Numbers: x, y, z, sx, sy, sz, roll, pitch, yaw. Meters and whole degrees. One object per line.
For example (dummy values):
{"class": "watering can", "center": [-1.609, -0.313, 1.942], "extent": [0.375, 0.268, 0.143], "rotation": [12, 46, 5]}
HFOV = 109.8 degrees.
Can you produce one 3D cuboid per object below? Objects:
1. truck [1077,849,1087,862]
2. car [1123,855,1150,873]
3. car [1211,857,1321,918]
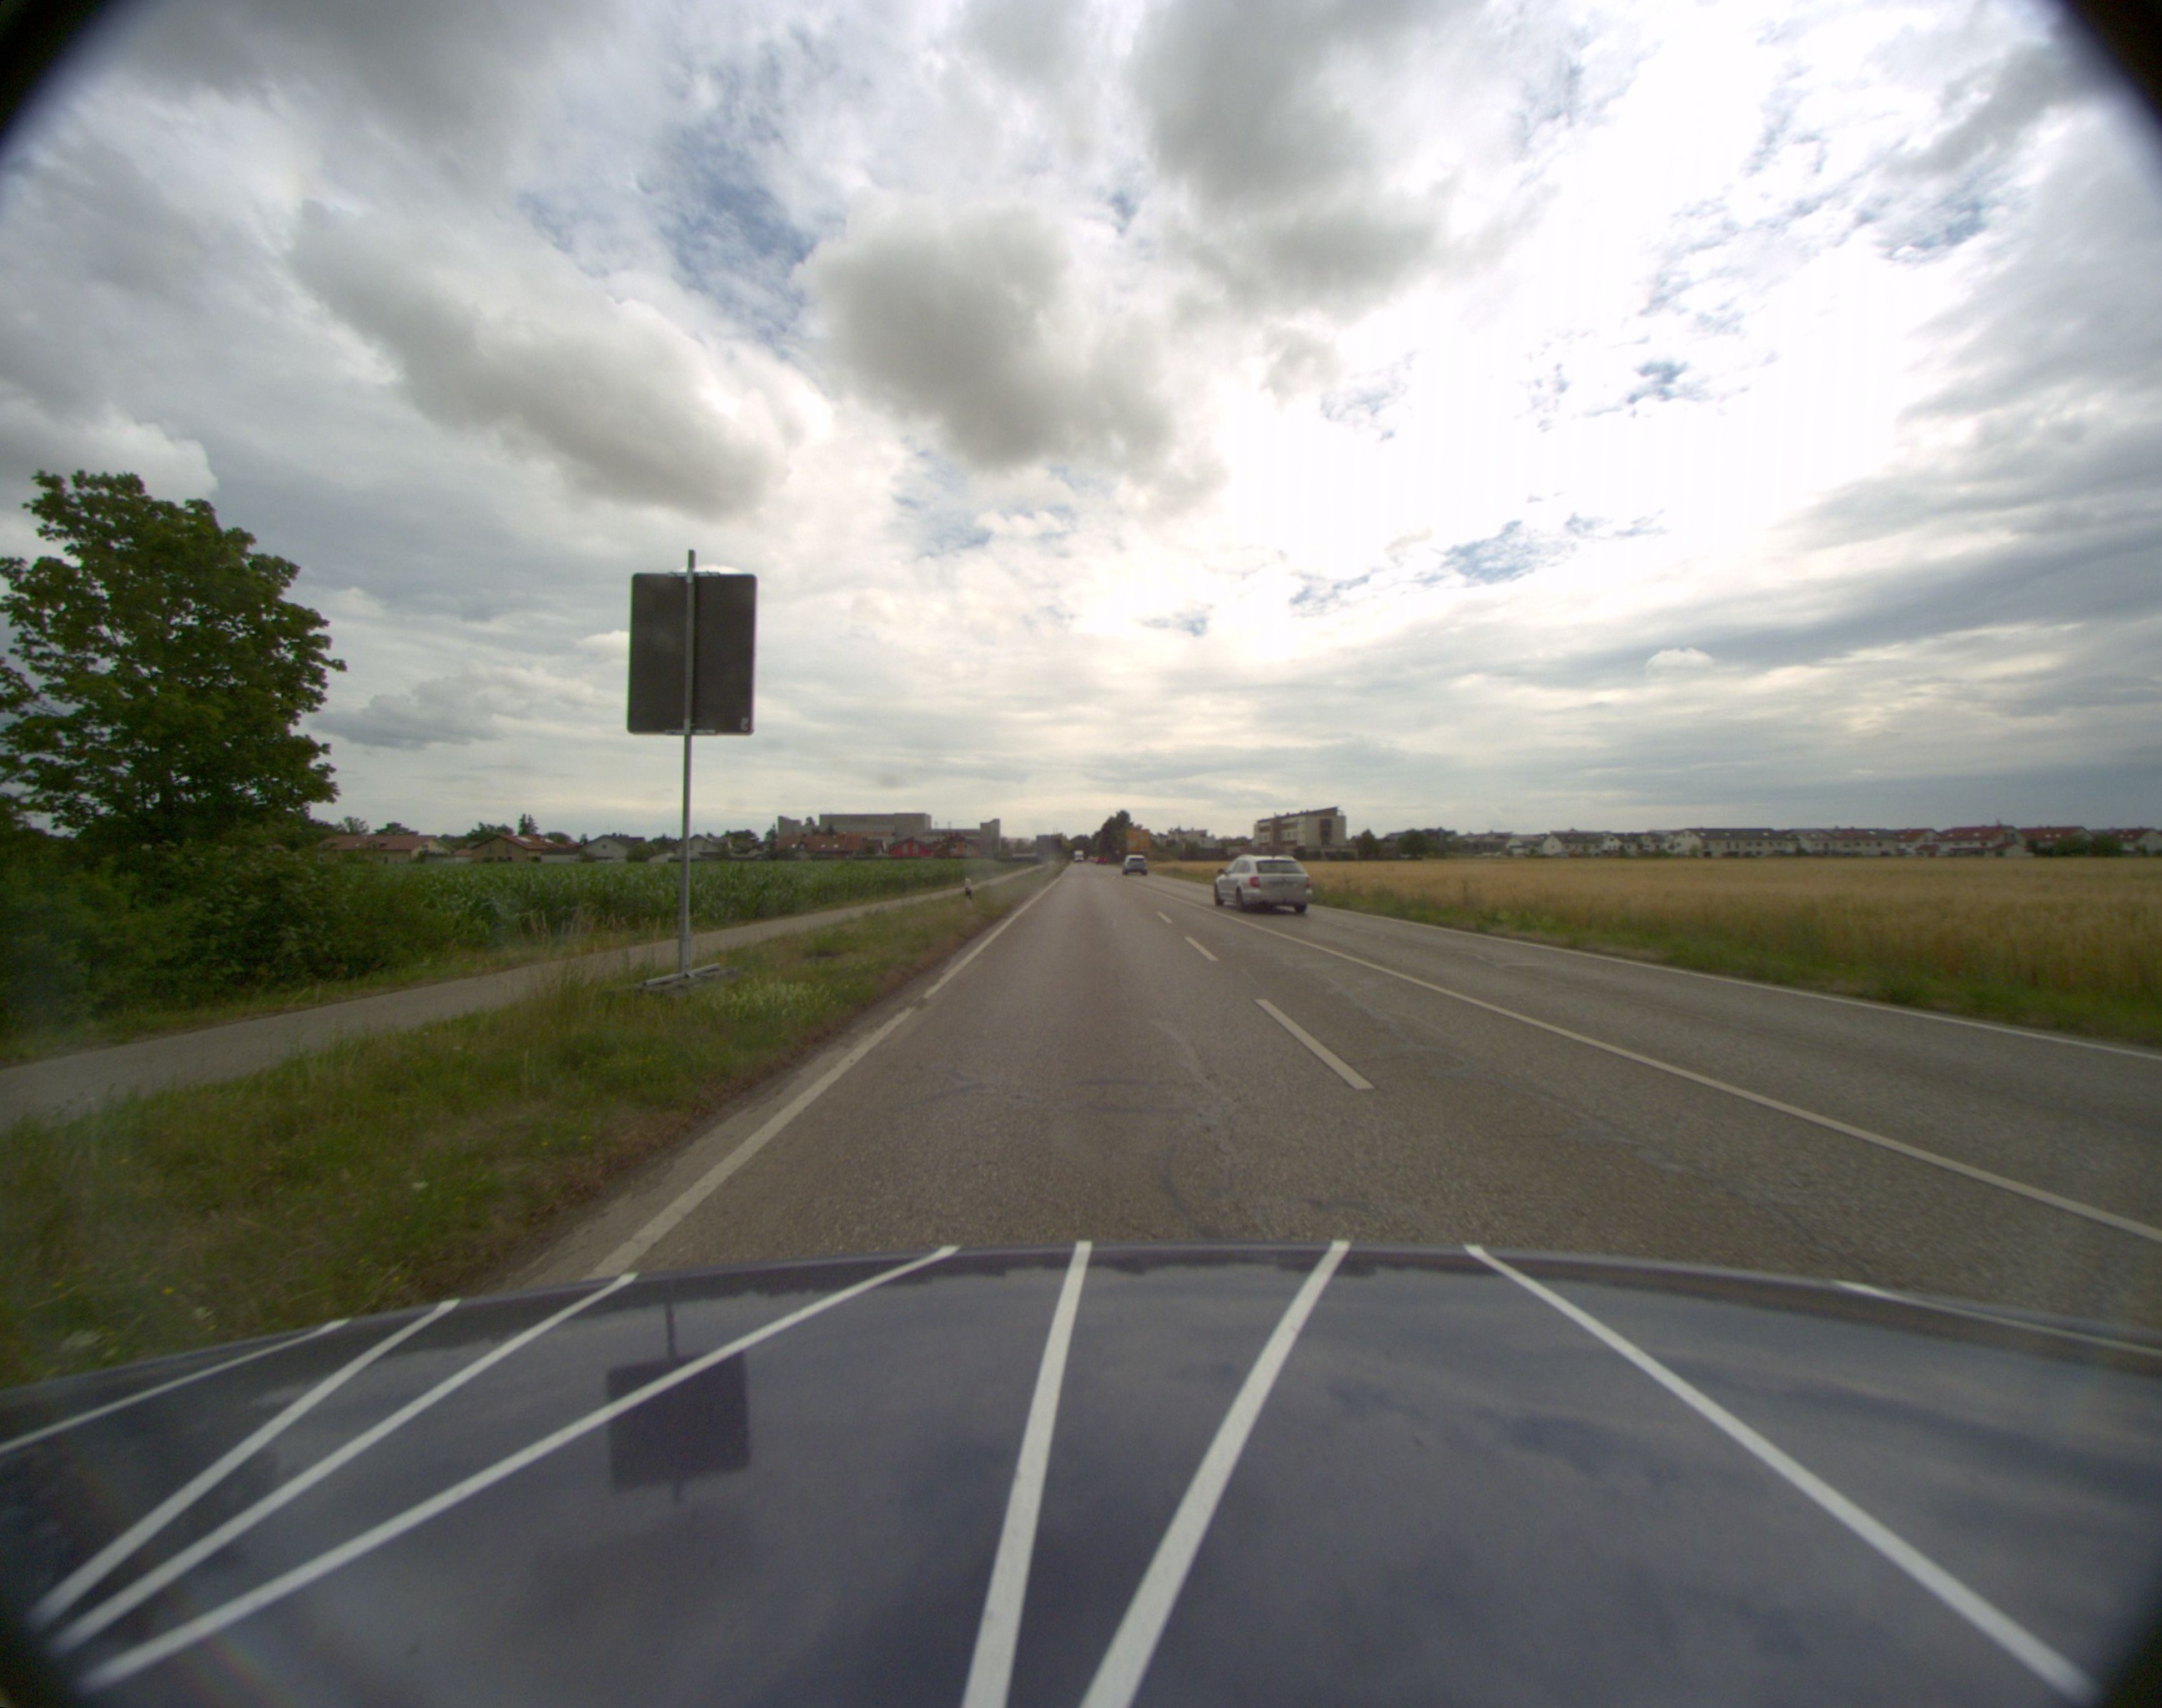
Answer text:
{"class": "truck", "center": [0.359, 0.400, 213.386], "extent": [2.813, 3.588, 11.219], "rotation": [-1, 0, 0]}
{"class": "car", "center": [4.541, 0.788, 62.815], "extent": [1.856, 1.480, 4.263], "rotation": [0, 0, -1]}
{"class": "car", "center": [4.907, 0.836, 20.791], "extent": [1.856, 1.480, 4.263], "rotation": [0, 0, -2]}
